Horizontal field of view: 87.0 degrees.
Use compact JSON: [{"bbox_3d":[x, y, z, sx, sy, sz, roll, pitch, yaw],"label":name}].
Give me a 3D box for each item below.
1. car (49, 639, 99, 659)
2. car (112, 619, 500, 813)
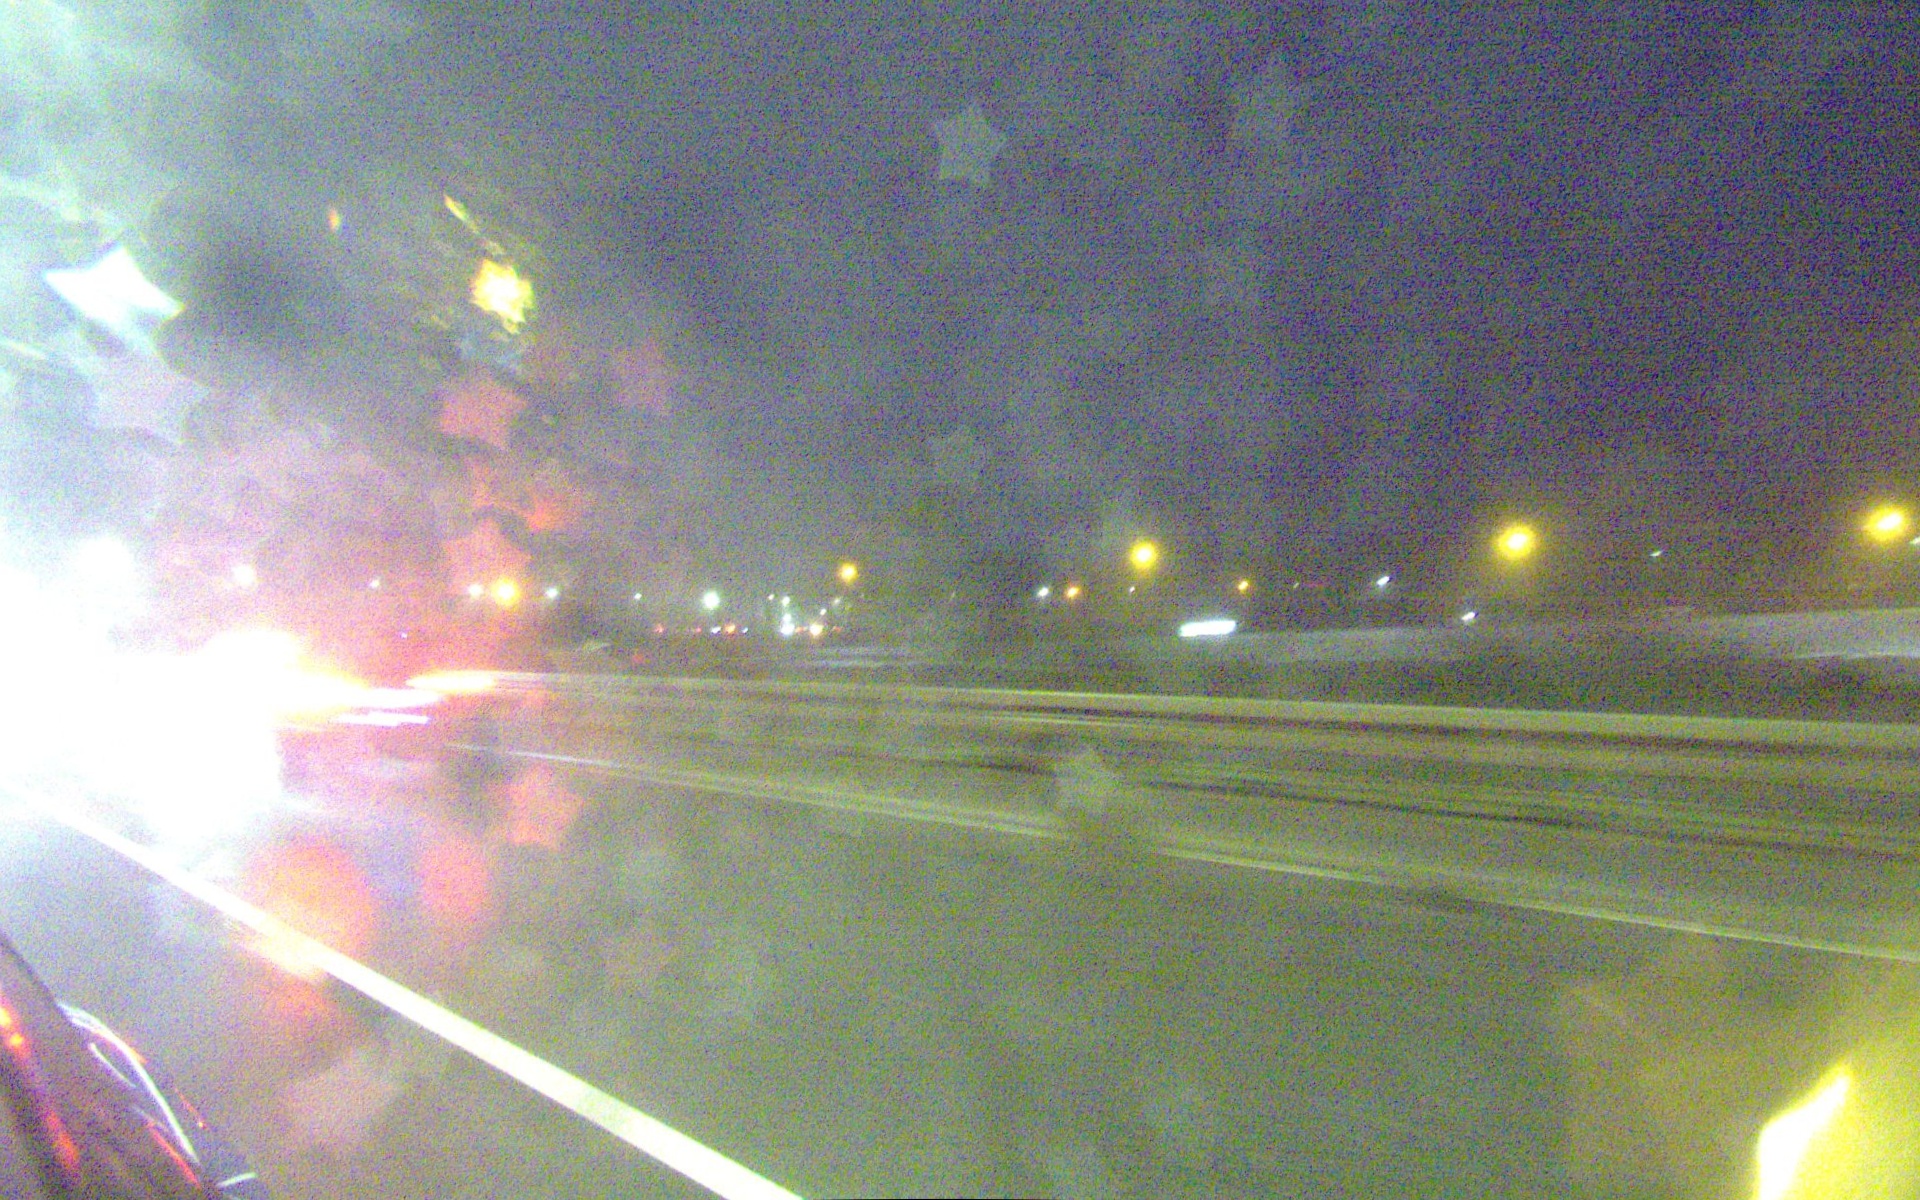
[{"bbox_3d":[-66.503,3.632,76.049,1.767,1.402,4.606,2,-2,-27],"label":"car"},{"bbox_3d":[-6.279,0.946,9.566,4.029,1.413,1.807,-2,-1,37],"label":"car"}]
